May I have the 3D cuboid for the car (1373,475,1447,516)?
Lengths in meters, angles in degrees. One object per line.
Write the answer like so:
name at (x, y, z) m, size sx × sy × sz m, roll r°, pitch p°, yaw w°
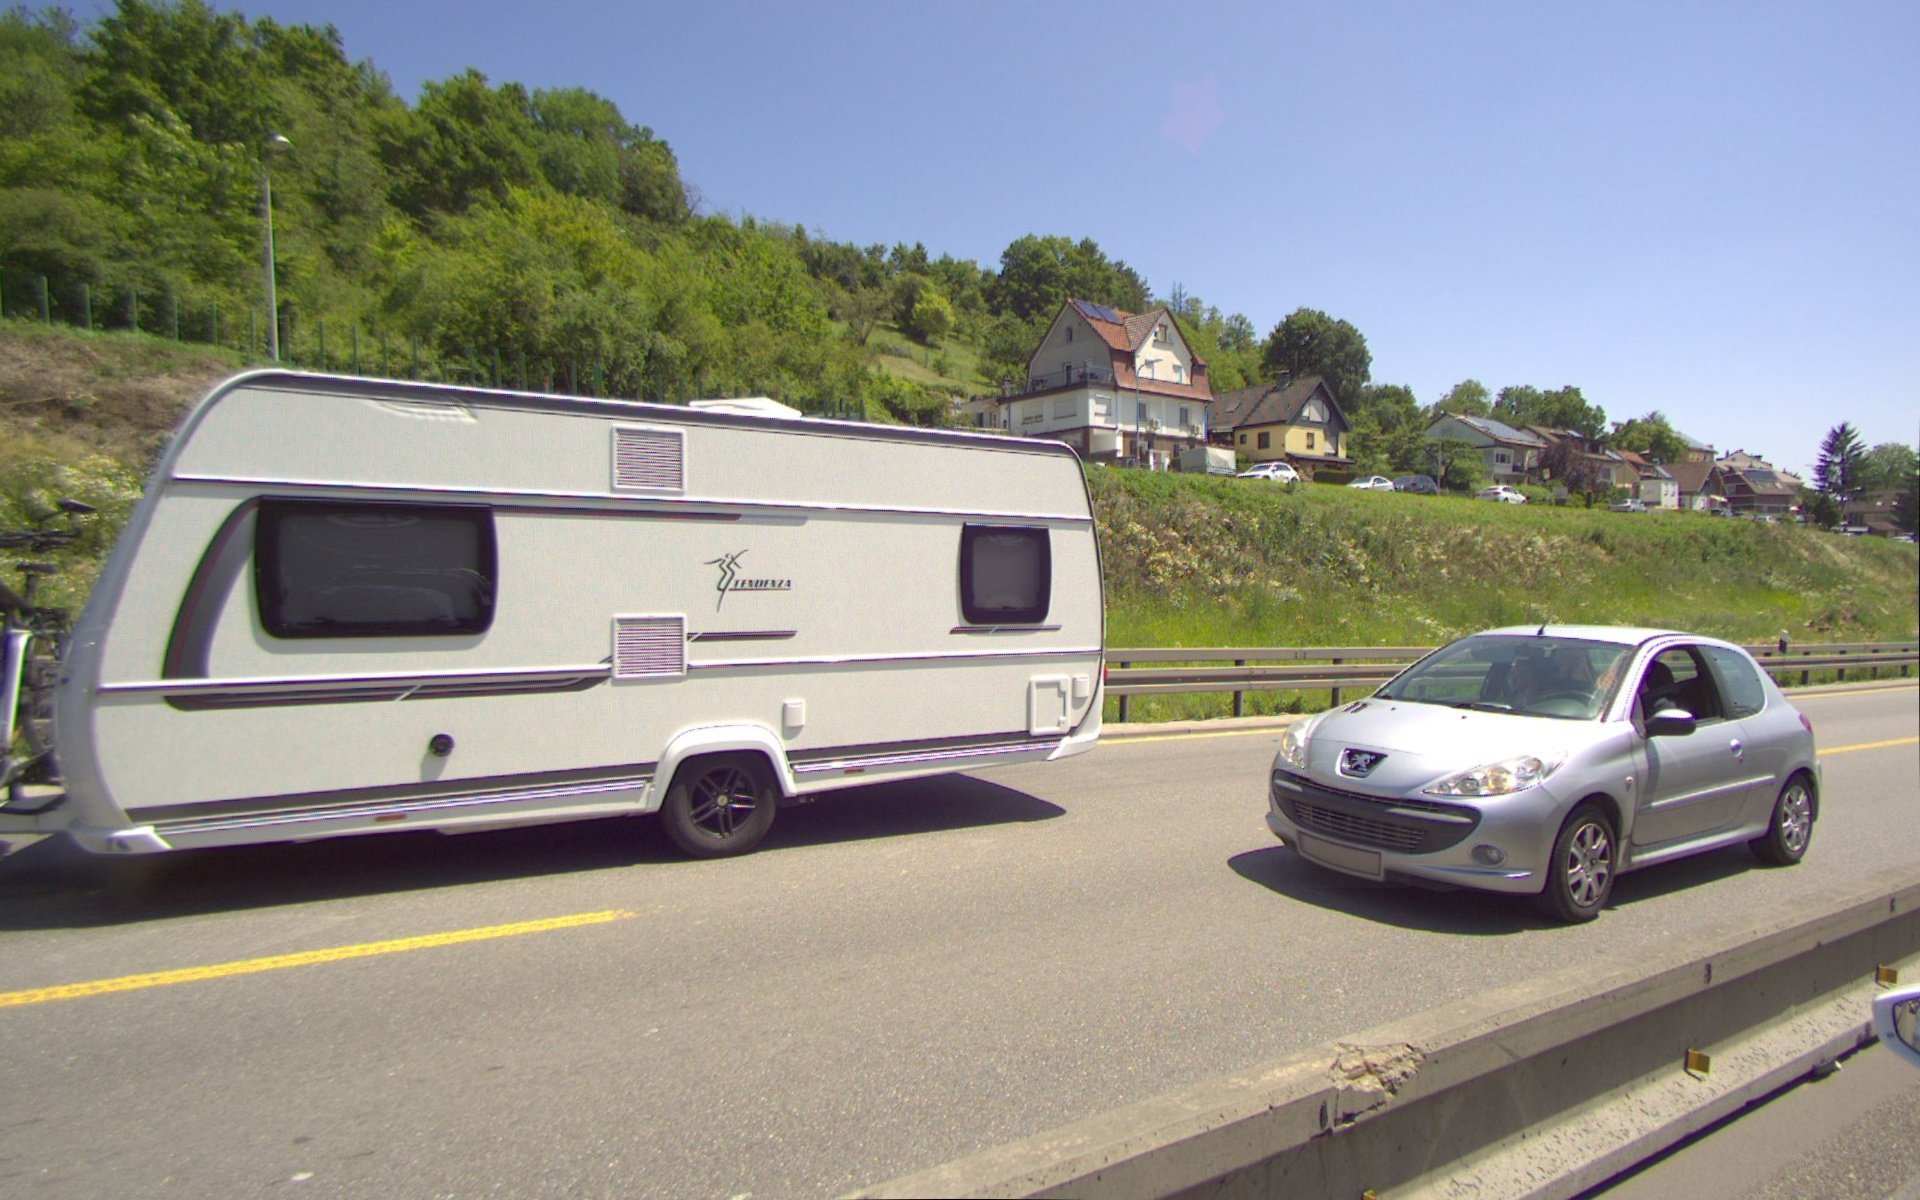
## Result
car at (28.189, -6.493, 62.898) m, size 4.925 × 2.035 × 2.056 m, roll 2°, pitch 0°, yaw -36°

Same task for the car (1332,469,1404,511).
car at (24.253, -6.493, 59.653) m, size 4.389 × 1.896 × 1.979 m, roll 2°, pitch 0°, yaw -37°

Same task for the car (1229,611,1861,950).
car at (3.658, 0.842, 6.141) m, size 3.860 × 1.469 × 1.659 m, roll 1°, pitch 0°, yaw -30°

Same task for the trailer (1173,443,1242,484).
trailer at (12.226, -6.708, 49.575) m, size 3.014 × 1.536 × 1.885 m, roll 2°, pitch 0°, yaw -42°

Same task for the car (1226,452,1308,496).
car at (16.204, -6.575, 52.931) m, size 4.516 × 1.678 × 1.976 m, roll 2°, pitch 0°, yaw -40°

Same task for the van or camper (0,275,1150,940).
van or camper at (-2.190, 0.098, 6.397) m, size 6.823 × 2.669 × 2.338 m, roll 2°, pitch 0°, yaw -31°

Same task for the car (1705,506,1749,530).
car at (72.533, -7.693, 94.961) m, size 4.721 × 1.818 × 2.162 m, roll 2°, pitch 0°, yaw -38°

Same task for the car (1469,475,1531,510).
car at (37.587, -7.447, 69.884) m, size 4.967 × 1.818 × 1.978 m, roll 2°, pitch 0°, yaw -38°

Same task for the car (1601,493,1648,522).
car at (53.333, -7.396, 80.570) m, size 3.964 × 1.818 × 1.979 m, roll 2°, pitch 0°, yaw -38°
